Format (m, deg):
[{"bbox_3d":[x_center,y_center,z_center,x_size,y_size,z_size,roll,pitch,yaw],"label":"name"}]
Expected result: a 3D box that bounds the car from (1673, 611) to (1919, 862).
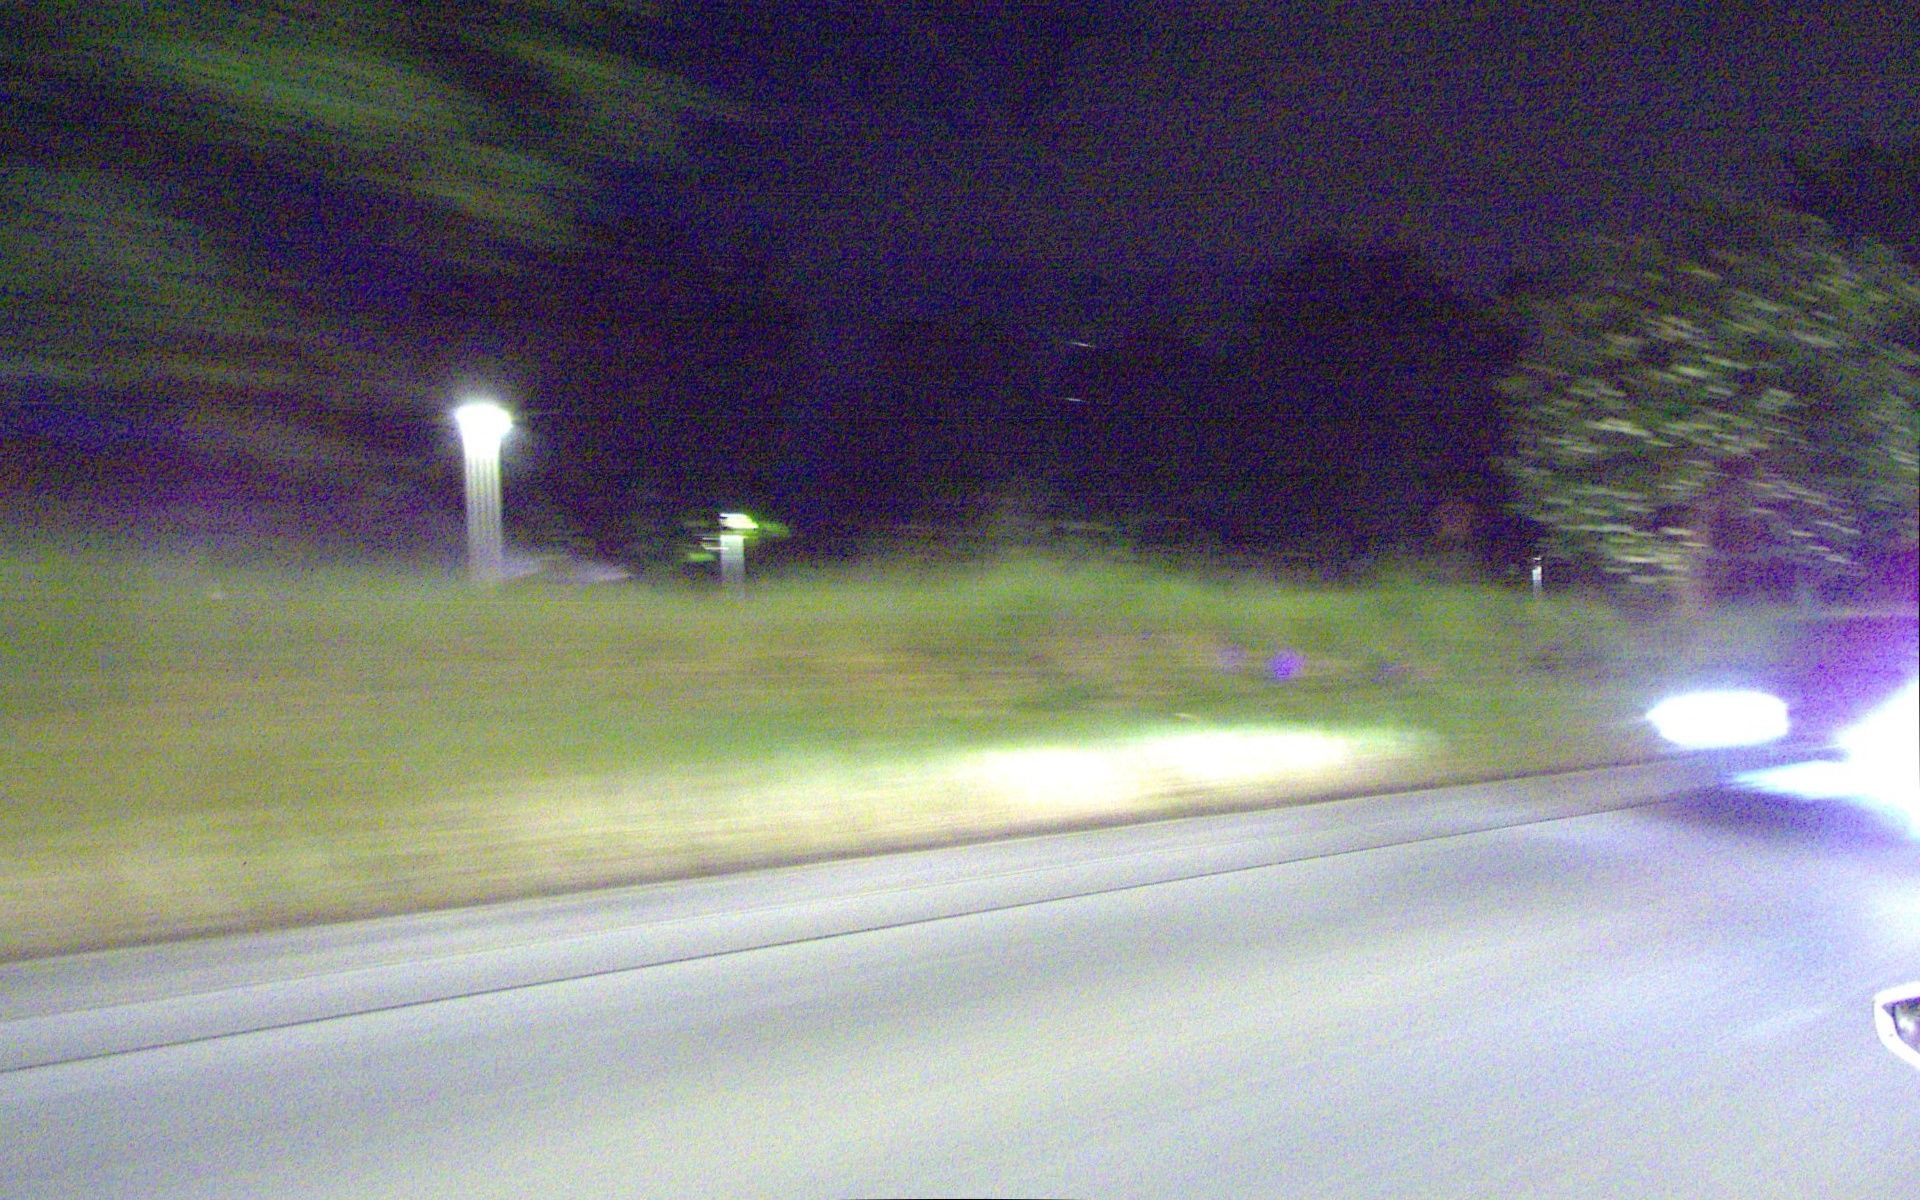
[{"bbox_3d":[7.102,0.870,7.477,3.516,1.511,1.639,1,0,-31],"label":"car"}]
